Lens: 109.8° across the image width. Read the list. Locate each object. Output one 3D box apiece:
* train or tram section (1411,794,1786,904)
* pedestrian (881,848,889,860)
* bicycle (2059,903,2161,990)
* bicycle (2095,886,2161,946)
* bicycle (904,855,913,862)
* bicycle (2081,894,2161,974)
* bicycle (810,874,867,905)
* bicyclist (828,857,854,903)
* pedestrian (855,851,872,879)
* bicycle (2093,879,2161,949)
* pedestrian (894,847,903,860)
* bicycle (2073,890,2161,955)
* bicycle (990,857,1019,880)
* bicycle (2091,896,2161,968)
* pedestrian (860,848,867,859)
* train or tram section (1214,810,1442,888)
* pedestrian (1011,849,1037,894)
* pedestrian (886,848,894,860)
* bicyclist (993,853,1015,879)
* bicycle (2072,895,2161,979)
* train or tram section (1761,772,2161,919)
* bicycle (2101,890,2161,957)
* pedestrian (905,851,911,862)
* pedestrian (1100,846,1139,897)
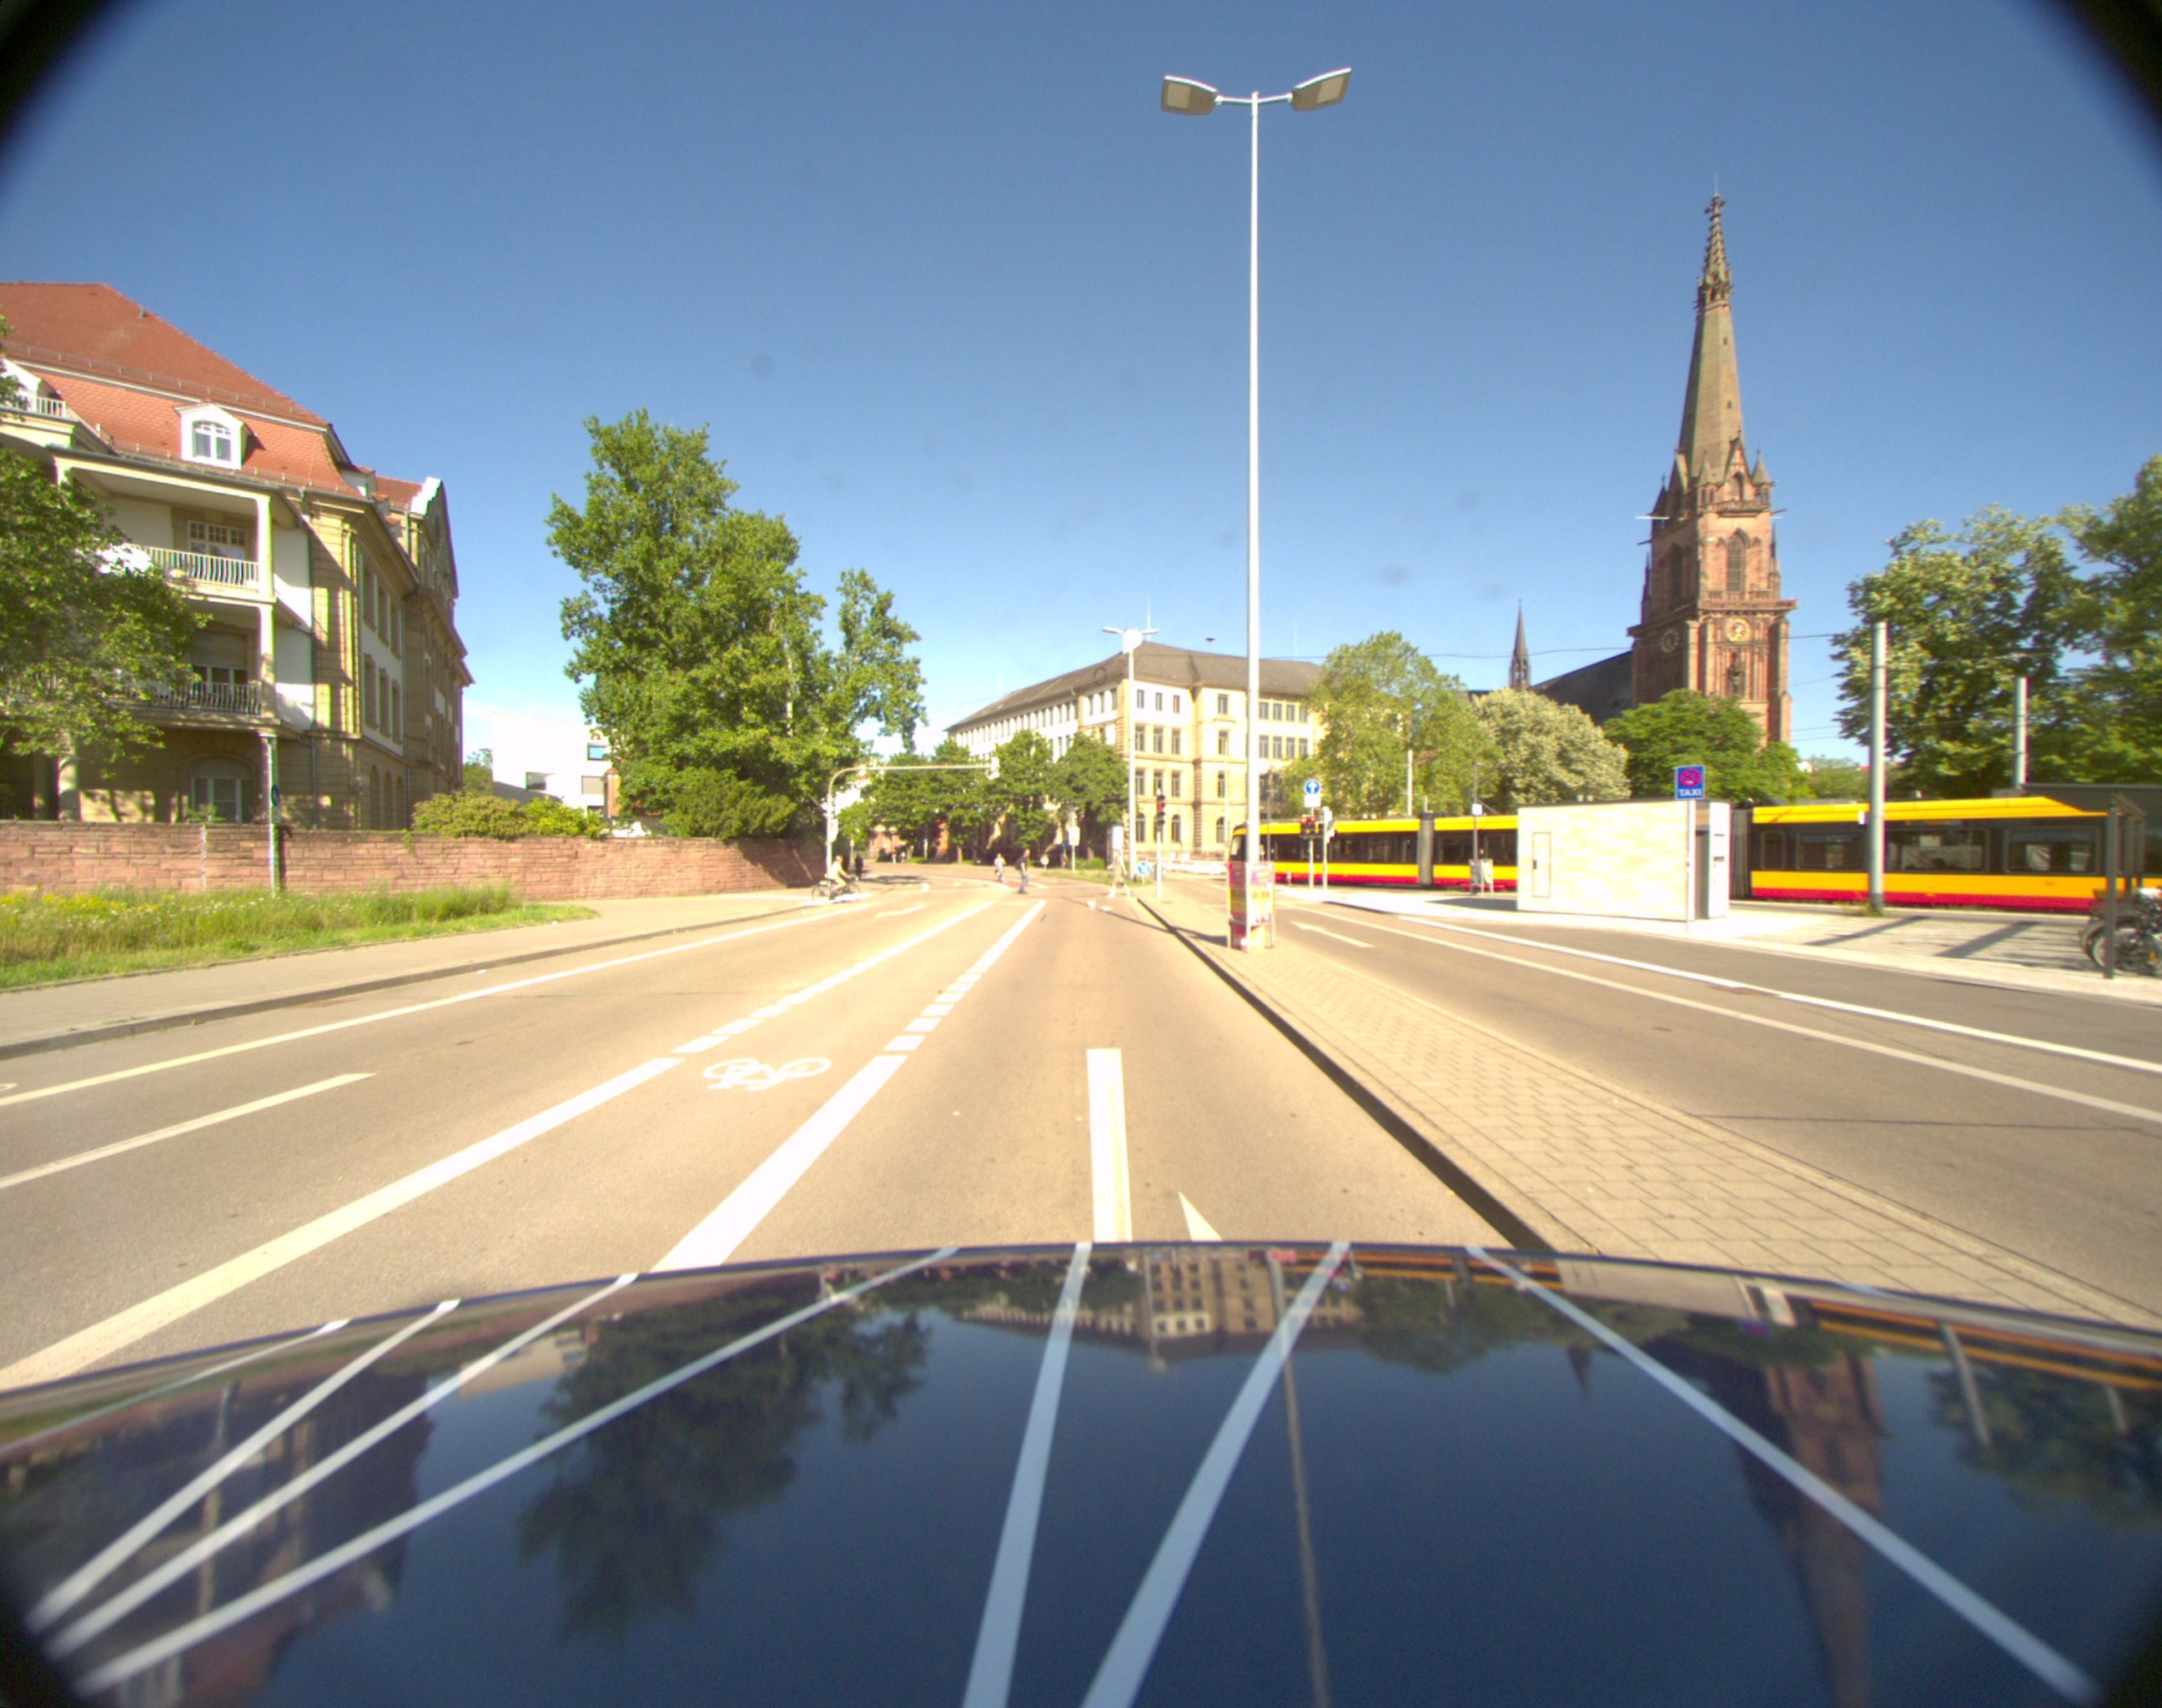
[{"bbox_3d":[19.794,-0.197,30.614,2.806,3.580,12.294,-1,1,-35],"label":"train or tram section"},{"bbox_3d":[-29.572,-0.016,114.618,0.978,1.801,0.759,-4,-3,43],"label":"pedestrian"},{"bbox_3d":[13.942,1.206,9.591,0.702,1.002,1.863,-1,2,-32],"label":"bicycle"},{"bbox_3d":[19.532,1.123,13.455,0.630,1.002,1.826,-1,1,-32],"label":"bicycle"},{"bbox_3d":[-23.008,0.609,101.174,0.602,1.000,1.983,-3,1,-28],"label":"bicycle"},{"bbox_3d":[15.148,1.115,10.325,0.574,1.045,1.826,-1,1,-32],"label":"bicycle"},{"bbox_3d":[-8.786,1.266,27.527,1.887,1.064,0.723,0,0,-24],"label":"bicycle"},{"bbox_3d":[-8.702,0.924,27.553,0.779,1.596,0.721,-1,1,-24],"label":"bicyclist"},{"bbox_3d":[-13.694,0.696,47.827,0.940,1.711,0.994,0,1,-12],"label":"pedestrian"},{"bbox_3d":[18.953,1.047,13.047,0.630,1.173,1.826,-1,1,-32],"label":"bicycle"},{"bbox_3d":[-26.225,-0.099,109.195,0.759,1.802,0.977,-1,1,-40],"label":"pedestrian"},{"bbox_3d":[17.819,1.136,12.458,0.630,1.002,1.826,-1,1,-32],"label":"bicycle"},{"bbox_3d":[-4.654,0.864,46.089,0.763,1.360,2.731,-1,1,-28],"label":"bicycle"},{"bbox_3d":[16.185,1.161,10.998,0.630,1.002,1.826,-1,1,-32],"label":"bicycle"},{"bbox_3d":[-35.553,-0.069,124.452,0.759,1.802,0.978,-1,1,-38],"label":"pedestrian"},{"bbox_3d":[12.600,-0.256,40.772,2.806,3.580,12.504,-1,1,-35],"label":"train or tram section"},{"bbox_3d":[-2.358,0.721,31.531,0.960,1.839,0.731,1,1,2],"label":"pedestrian"},{"bbox_3d":[-28.973,-0.047,115.328,0.978,1.801,0.759,-4,-3,43],"label":"pedestrian"},{"bbox_3d":[-4.687,0.716,46.155,0.871,1.551,1.277,-1,1,-29],"label":"bicyclist"},{"bbox_3d":[14.678,1.129,10.060,0.630,1.059,1.826,-1,1,-32],"label":"bicycle"},{"bbox_3d":[26.806,-0.221,20.461,2.838,3.580,12.294,-1,1,-35],"label":"train or tram section"},{"bbox_3d":[17.172,1.098,11.622,0.630,1.002,1.826,-1,1,-32],"label":"bicycle"},{"bbox_3d":[-22.985,0.329,101.120,0.597,1.394,0.644,-3,2,-28],"label":"pedestrian"},{"bbox_3d":[1.435,0.638,28.446,1.230,1.845,0.826,0,1,-16],"label":"pedestrian"}]
